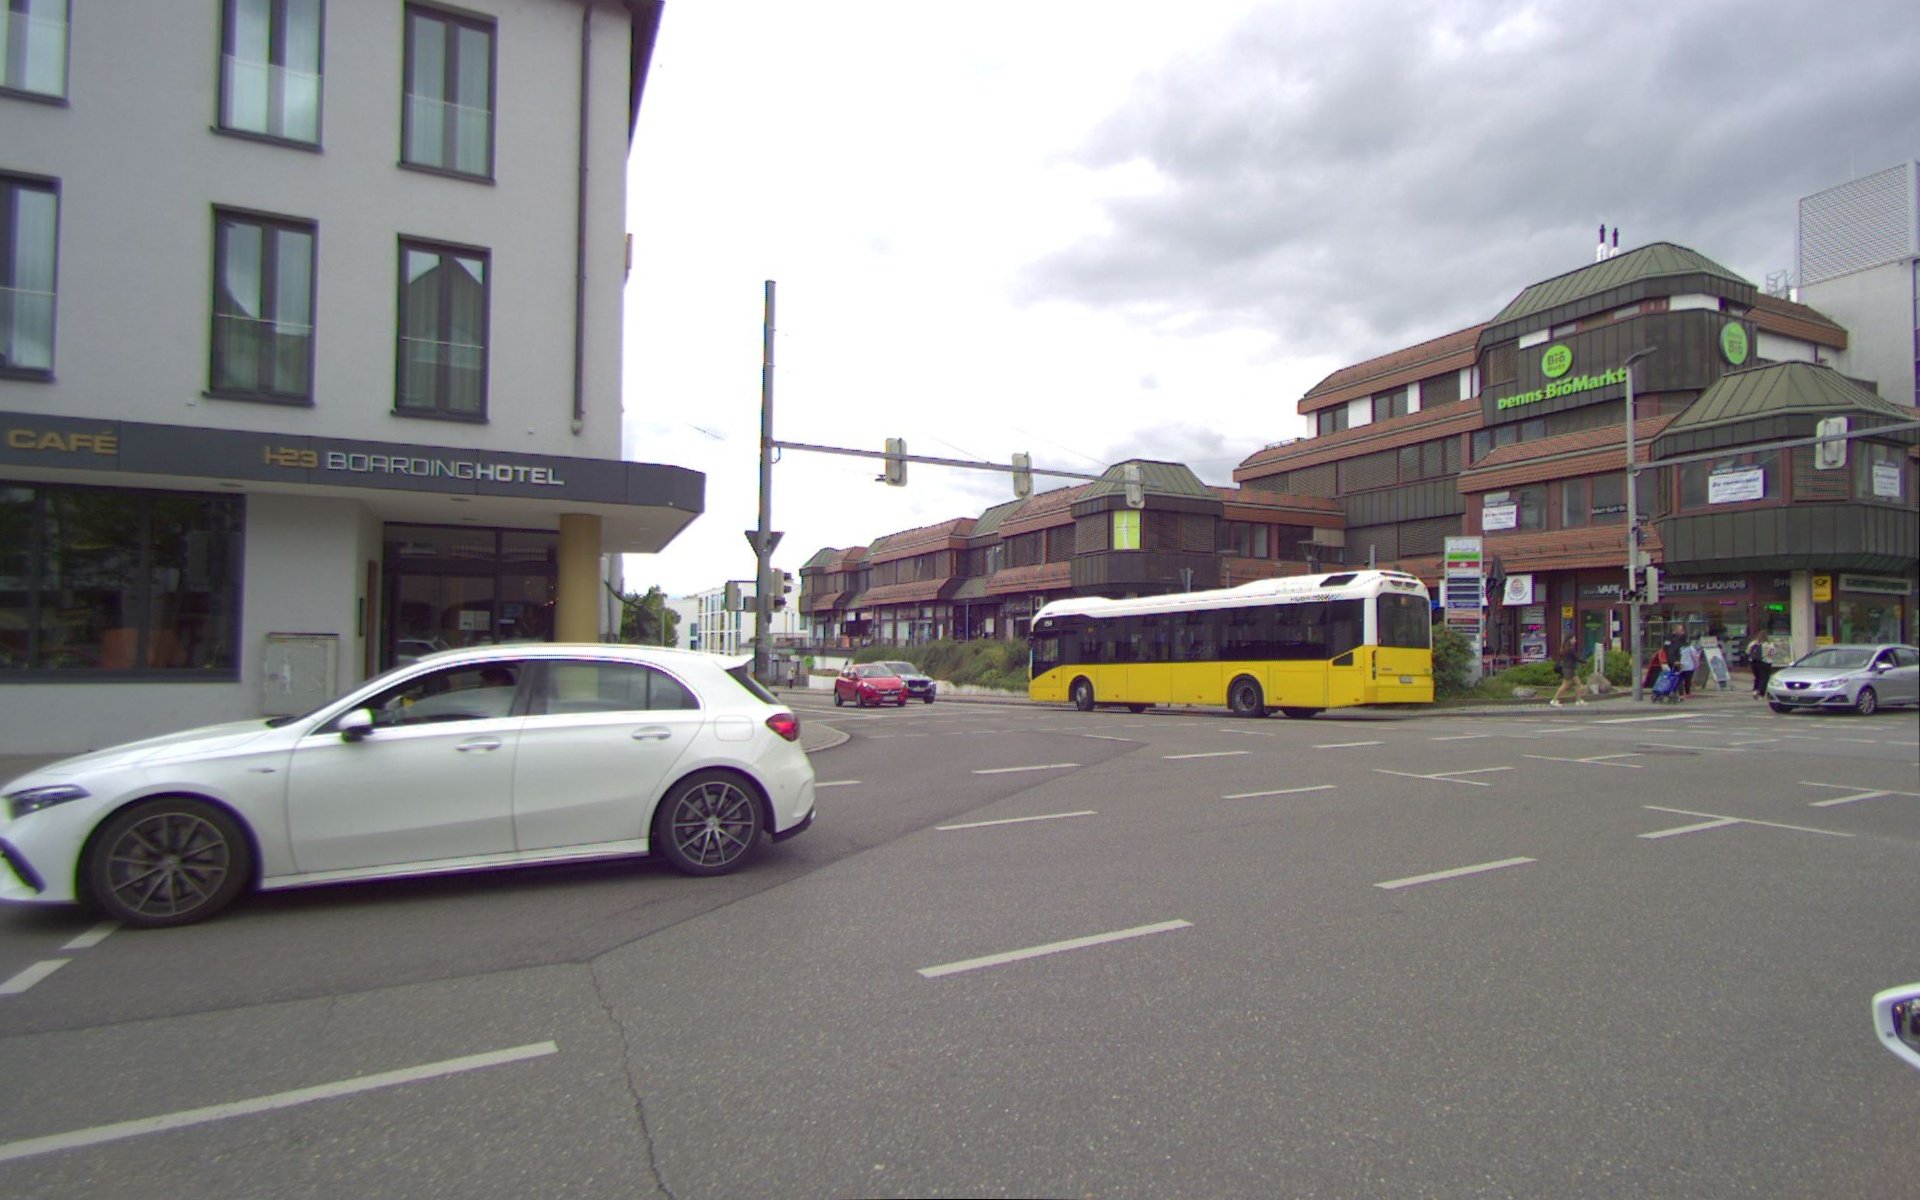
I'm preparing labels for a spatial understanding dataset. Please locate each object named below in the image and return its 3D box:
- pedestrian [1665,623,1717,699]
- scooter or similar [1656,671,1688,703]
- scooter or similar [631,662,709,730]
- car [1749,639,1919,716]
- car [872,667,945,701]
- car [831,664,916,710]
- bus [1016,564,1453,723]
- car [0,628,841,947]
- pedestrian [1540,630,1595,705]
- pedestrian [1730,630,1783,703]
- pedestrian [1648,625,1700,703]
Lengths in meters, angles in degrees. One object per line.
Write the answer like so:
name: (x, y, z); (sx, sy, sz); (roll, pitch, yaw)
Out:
pedestrian: (17.952, 1.484, 24.665); (0.767, 1.832, 0.805); (1, -1, -32)
scooter or similar: (16.822, 2.049, 23.741); (0.532, 0.736, 0.451); (1, -2, -32)
scooter or similar: (-5.289, 1.745, 18.396); (0.418, 1.173, 1.574); (0, -5, 24)
car: (19.145, 1.610, 21.521); (4.137, 1.436, 1.632); (-1, -3, -22)
car: (-2.099, 3.311, 39.937); (1.776, 1.295, 3.498); (2, -4, -24)
car: (-3.075, 3.001, 35.017); (1.790, 1.505, 3.979); (2, -4, -23)
bus: (6.506, 1.366, 27.098); (2.968, 3.370, 12.187); (2, -5, -36)
car: (-3.009, 0.939, 6.346); (4.178, 1.478, 1.739); (1, -3, -25)
pedestrian: (14.448, 1.588, 23.895); (0.797, 1.736, 0.702); (-2, -1, -6)
pedestrian: (19.215, 1.596, 24.245); (0.768, 1.715, 0.745); (1, -2, -29)
pedestrian: (17.265, 1.527, 24.286); (0.738, 1.832, 0.805); (1, -1, -32)
